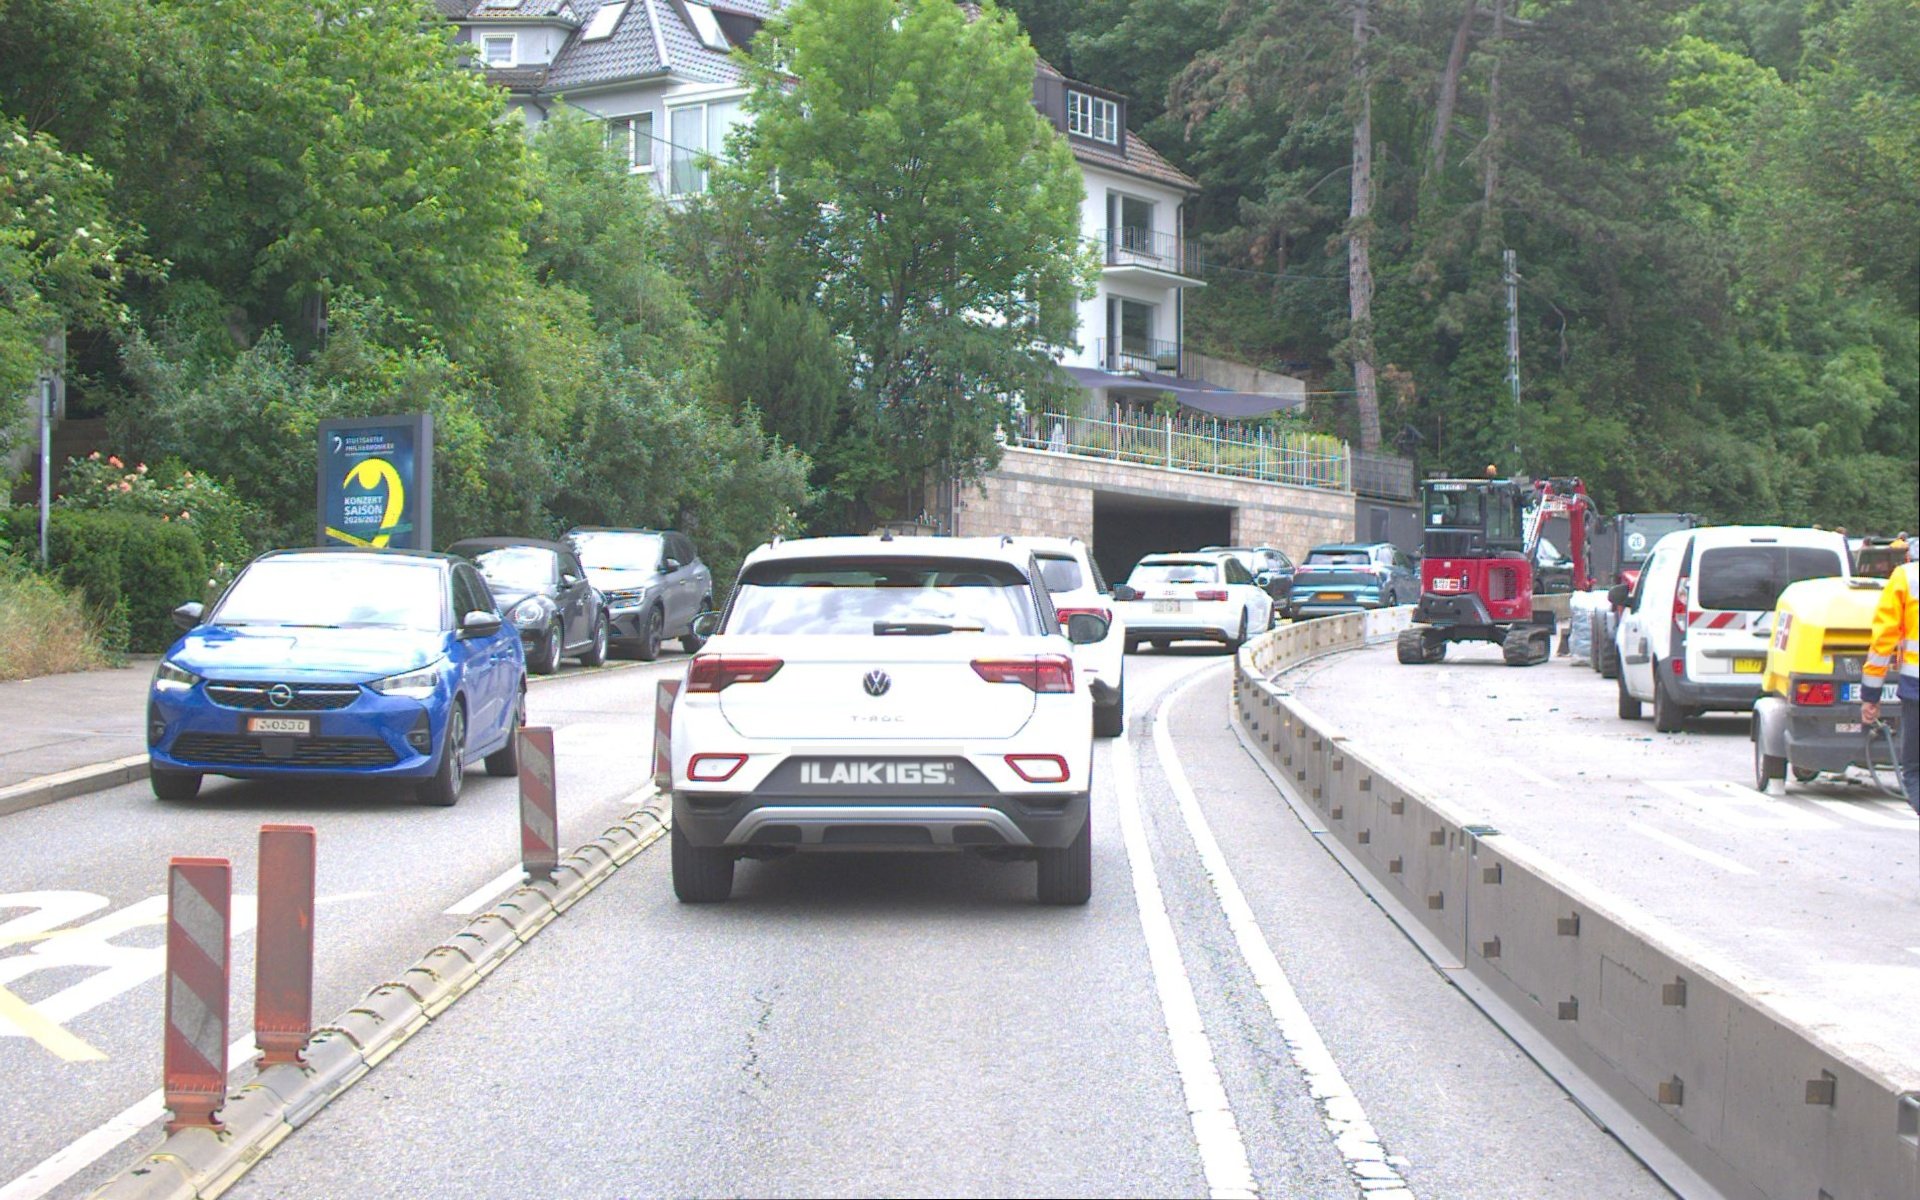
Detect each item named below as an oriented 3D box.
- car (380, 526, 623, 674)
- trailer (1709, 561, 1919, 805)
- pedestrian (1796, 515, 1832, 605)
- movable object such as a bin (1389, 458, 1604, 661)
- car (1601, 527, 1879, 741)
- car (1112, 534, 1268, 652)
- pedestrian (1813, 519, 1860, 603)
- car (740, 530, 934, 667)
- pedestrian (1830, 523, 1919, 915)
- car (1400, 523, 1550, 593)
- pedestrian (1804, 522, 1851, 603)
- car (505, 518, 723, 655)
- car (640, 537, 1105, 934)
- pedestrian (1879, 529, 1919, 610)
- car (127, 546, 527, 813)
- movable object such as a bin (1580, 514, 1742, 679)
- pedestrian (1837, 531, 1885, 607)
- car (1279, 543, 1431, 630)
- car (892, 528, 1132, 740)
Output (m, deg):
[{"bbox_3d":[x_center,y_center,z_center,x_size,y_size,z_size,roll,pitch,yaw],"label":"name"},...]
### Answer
[{"bbox_3d":[-5.141,-0.035,39.016,1.794,1.505,3.999,3,1,6],"label":"car"},{"bbox_3d":[5.873,0.494,23.022,1.289,1.470,3.633,1,1,7],"label":"trailer"},{"bbox_3d":[18.243,-0.855,73.419,0.690,1.900,0.825,0,1,10],"label":"pedestrian"},{"bbox_3d":[7.518,-0.586,47.775,2.213,2.653,4.940,1,1,17],"label":"movable object such as a bin"},{"bbox_3d":[6.933,0.239,30.952,1.833,1.773,4.268,1,1,5],"label":"car"},{"bbox_3d":[3.434,-0.129,50.733,1.810,1.657,3.998,-1,1,11],"label":"car"},{"bbox_3d":[19.150,-0.860,75.142,0.877,1.816,0.877,0,1,23],"label":"pedestrian"},{"bbox_3d":[-1.515,-0.051,43.676,1.816,1.616,3.818,2,1,8],"label":"car"},{"bbox_3d":[4.336,0.514,15.331,0.645,1.696,0.850,2,1,0],"label":"pedestrian"},{"bbox_3d":[12.017,-0.980,80.042,1.771,1.562,4.221,2,2,34],"label":"car"},{"bbox_3d":[18.732,-0.810,74.238,0.877,1.725,0.877,0,1,23],"label":"pedestrian"},{"bbox_3d":[-4.396,-0.189,44.298,1.687,1.600,4.185,3,1,9],"label":"car"},{"bbox_3d":[-0.348,0.500,15.624,1.810,1.526,4.000,1,1,0],"label":"car"},{"bbox_3d":[19.819,-0.638,72.111,0.784,1.682,0.783,1,1,39],"label":"pedestrian"},{"bbox_3d":[-3.658,0.400,20.479,1.726,1.415,3.821,0,1,-1],"label":"car"},{"bbox_3d":[8.691,-0.084,42.873,1.702,1.936,4.163,1,1,8],"label":"movable object such as a bin"},{"bbox_3d":[19.188,-0.665,73.185,0.784,1.602,0.665,1,1,39],"label":"pedestrian"},{"bbox_3d":[7.176,-0.263,62.142,1.796,1.505,3.996,-1,1,21],"label":"car"},{"bbox_3d":[0.510,0.236,29.207,1.810,1.657,4.000,-1,1,4],"label":"car"}]
